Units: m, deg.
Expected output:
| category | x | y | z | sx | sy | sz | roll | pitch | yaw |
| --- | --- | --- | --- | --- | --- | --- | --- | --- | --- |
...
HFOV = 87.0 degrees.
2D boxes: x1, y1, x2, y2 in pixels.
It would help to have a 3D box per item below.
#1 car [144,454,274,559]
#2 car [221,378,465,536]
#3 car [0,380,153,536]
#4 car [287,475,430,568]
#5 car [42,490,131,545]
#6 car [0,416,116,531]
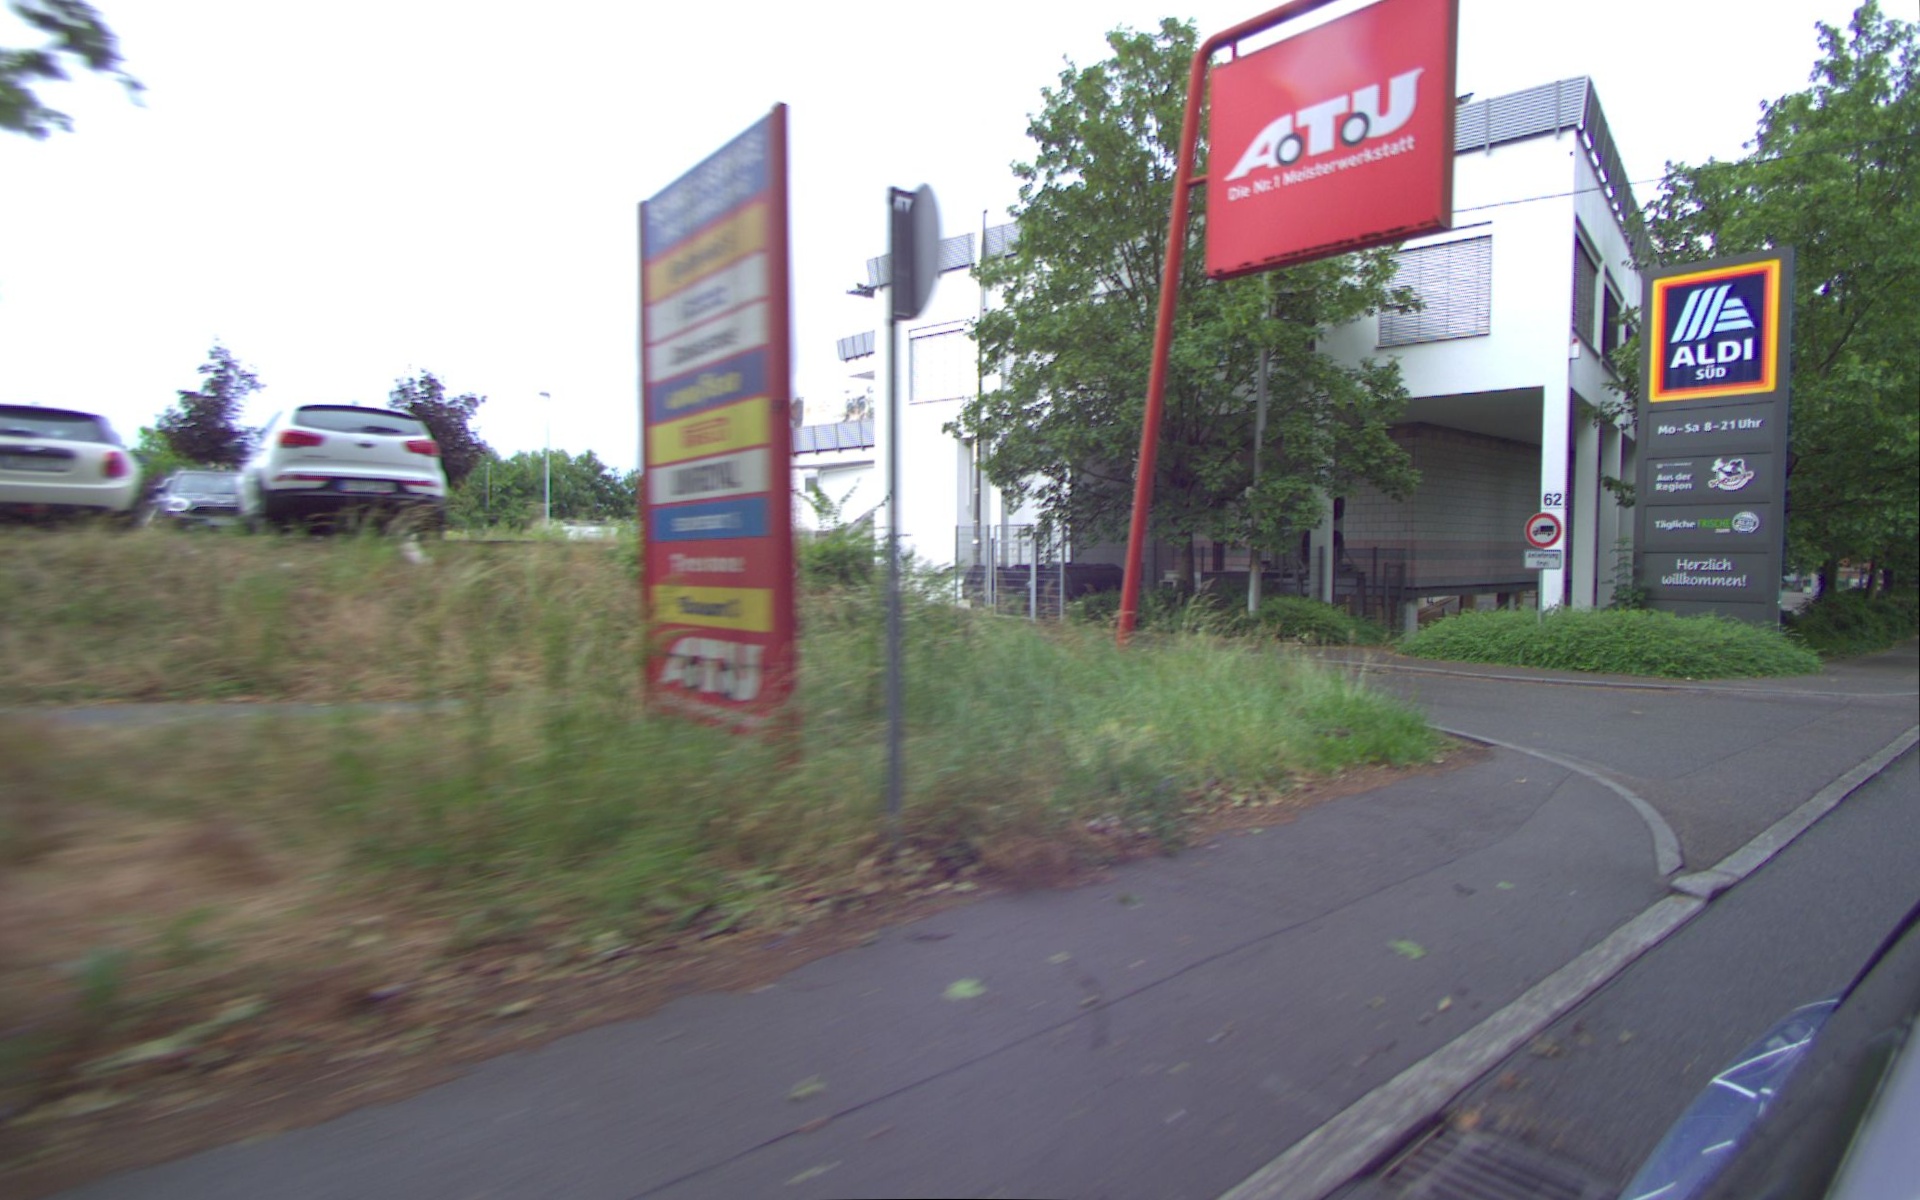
| category | x | y | z | sx | sy | sz | roll | pitch | yaw |
| --- | --- | --- | --- | --- | --- | --- | --- | --- | --- |
| car | -15.510 | -1.829 | 20.828 | 1.634 | 1.805 | 3.990 | -3 | 2 | -44 |
| car | -7.673 | -1.588 | 12.402 | 1.870 | 1.393 | 4.106 | -1 | 1 | -41 |
| car | -10.217 | -1.471 | 11.303 | 1.800 | 1.309 | 3.927 | -1 | 1 | -40 |
| car | -13.671 | -1.701 | 22.913 | 1.884 | 1.805 | 3.990 | -3 | 2 | -44 |
| car | -28.443 | -2.671 | 33.041 | 1.524 | 1.553 | 3.378 | -3 | 2 | -30 |
| car | -17.522 | -2.302 | 19.291 | 1.884 | 1.805 | 4.774 | 0 | 2 | -44 |
